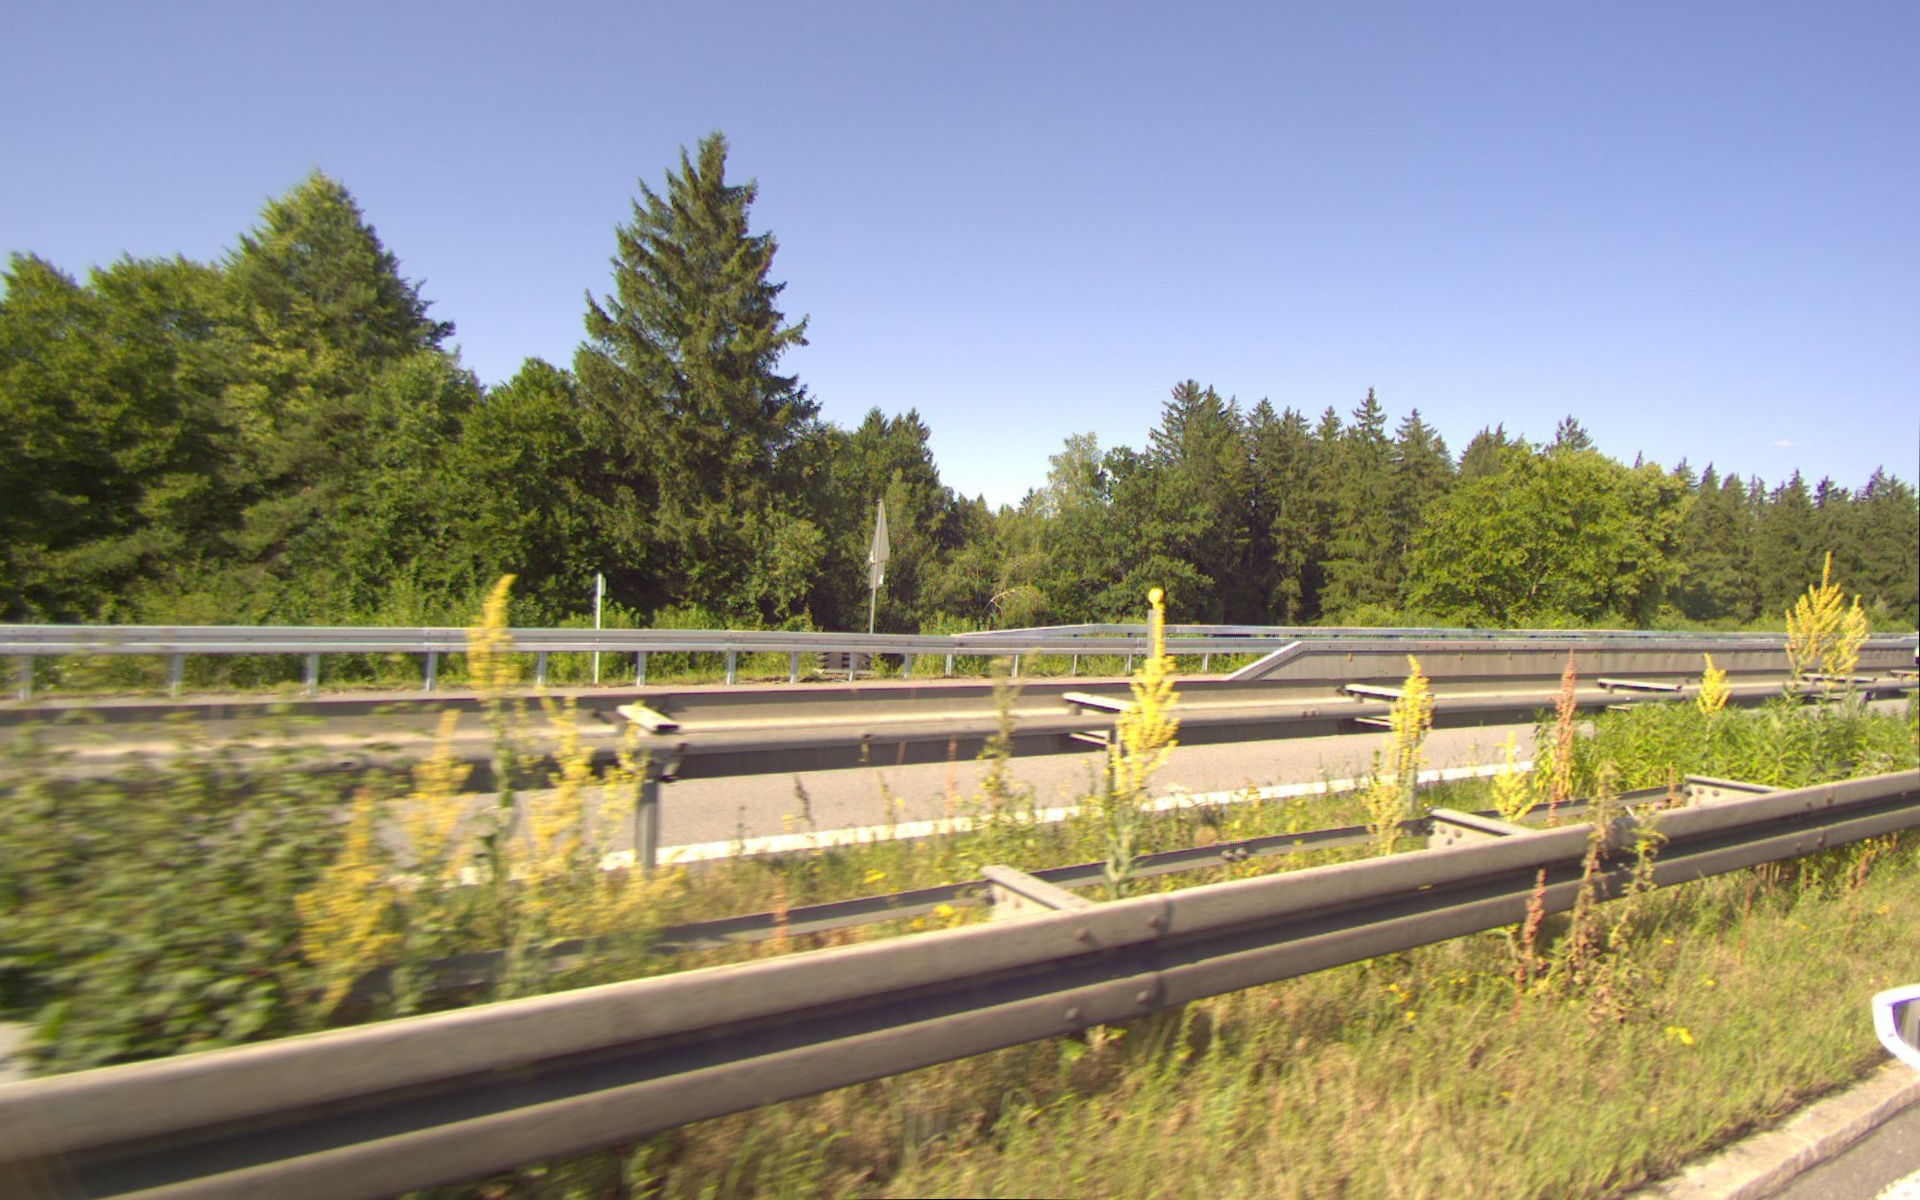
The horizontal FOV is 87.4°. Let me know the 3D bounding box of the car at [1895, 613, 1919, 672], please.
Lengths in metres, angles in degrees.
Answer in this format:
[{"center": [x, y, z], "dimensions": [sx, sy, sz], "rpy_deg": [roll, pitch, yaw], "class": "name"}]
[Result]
[{"center": [26.530, 1.148, 26.195], "dimensions": [4.928, 1.451, 1.873], "rpy_deg": [1, 1, -32], "class": "car"}]
